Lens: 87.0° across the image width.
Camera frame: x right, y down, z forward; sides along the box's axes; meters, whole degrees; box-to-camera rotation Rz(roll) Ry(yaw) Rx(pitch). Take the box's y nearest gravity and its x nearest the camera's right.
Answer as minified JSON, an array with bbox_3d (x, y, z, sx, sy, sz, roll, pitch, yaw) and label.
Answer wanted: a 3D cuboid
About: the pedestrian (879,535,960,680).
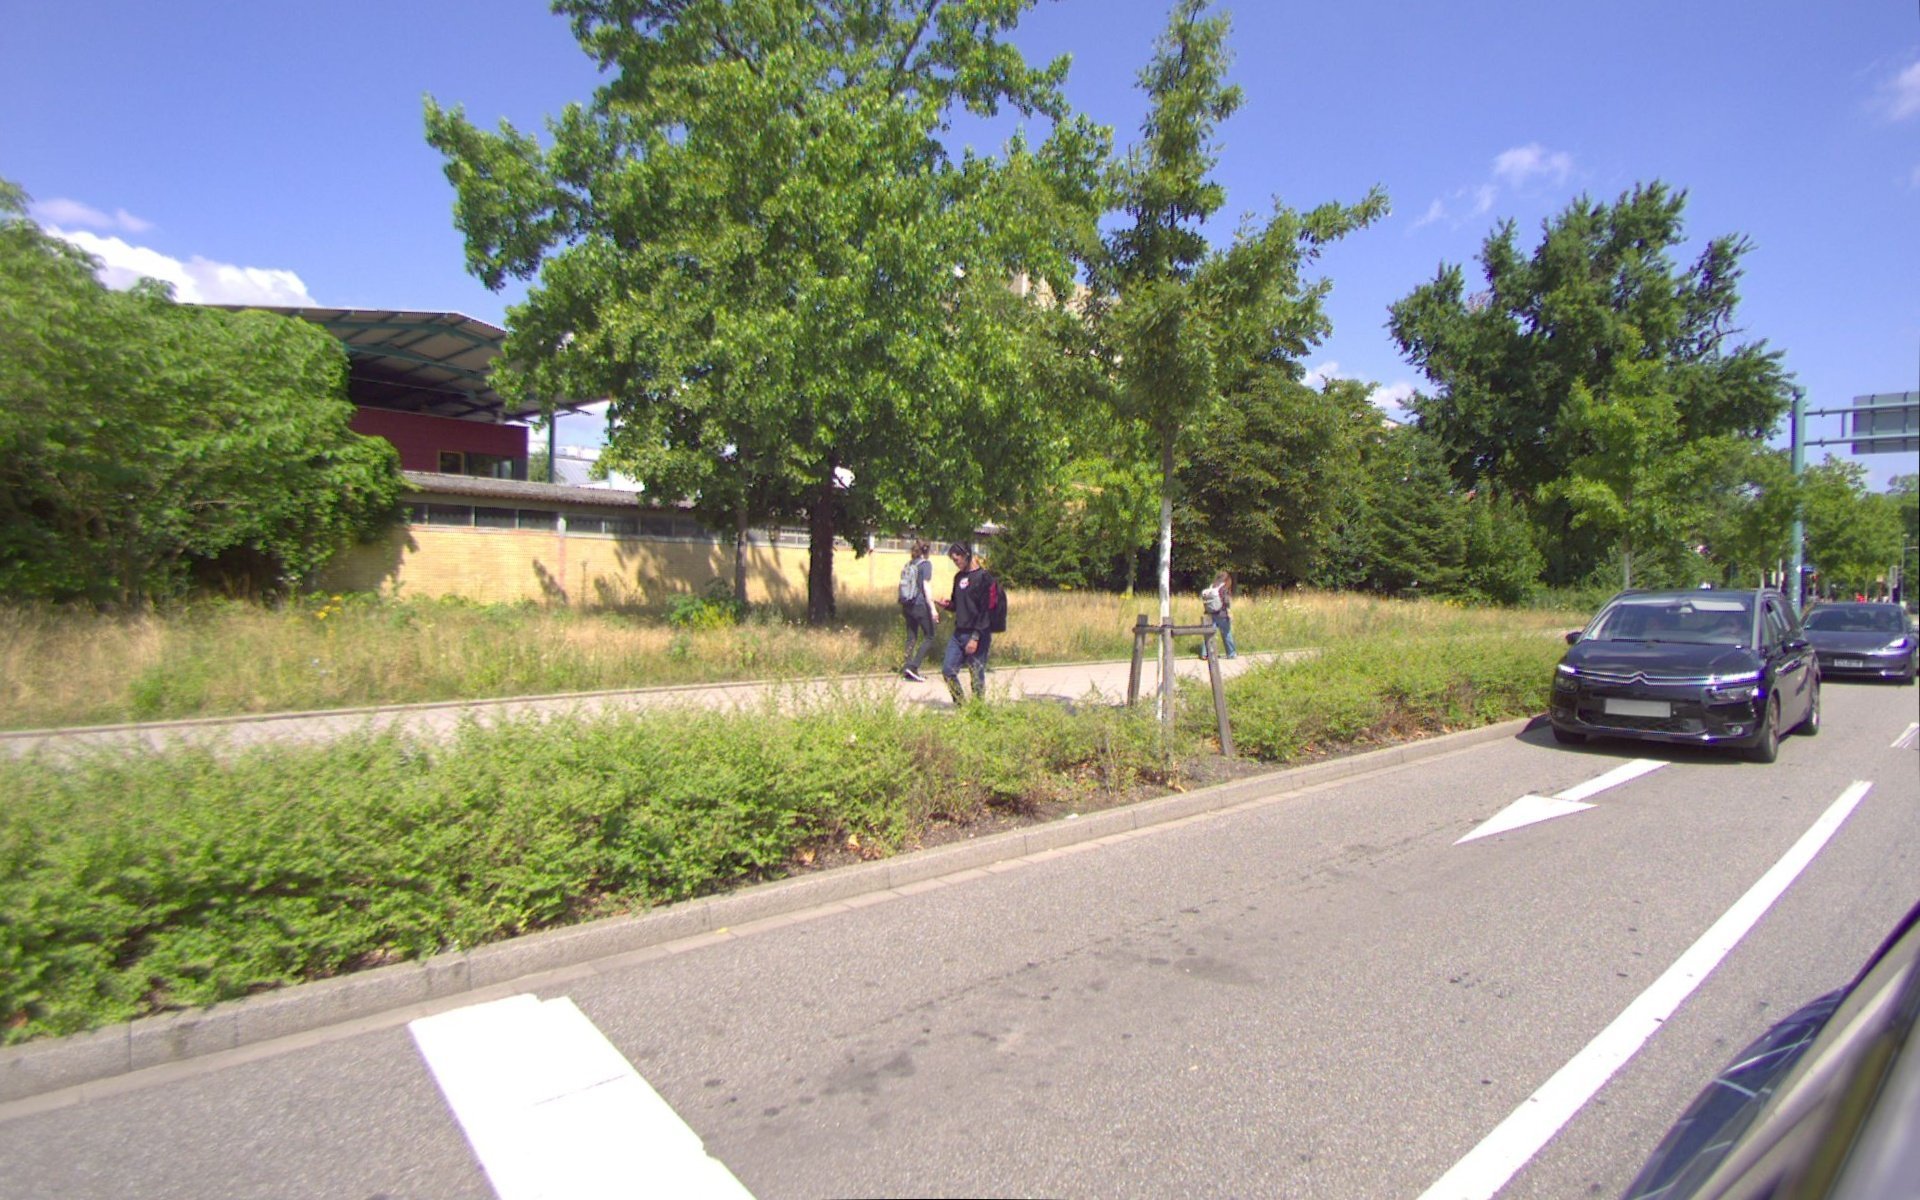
[{"bbox_3d":[-0.522,0.074,12.883,0.656,1.771,0.750,0,2,-44],"label":"pedestrian"}]

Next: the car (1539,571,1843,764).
[{"bbox_3d":[7.955,0.579,10.838,4.445,1.643,1.859,0,-1,-44],"label":"car"}]

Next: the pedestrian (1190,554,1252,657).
[{"bbox_3d":[4.673,0.084,18.102,0.863,1.771,0.667,0,2,-44],"label":"pedestrian"}]

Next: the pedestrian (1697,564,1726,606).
[{"bbox_3d":[32.132,-0.649,43.264,0.828,1.787,0.843,-1,0,-44],"label":"pedestrian"}]

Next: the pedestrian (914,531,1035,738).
[{"bbox_3d":[0.133,0.279,9.182,0.834,1.771,0.667,0,2,-44],"label":"pedestrian"}]

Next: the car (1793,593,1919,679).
[{"bbox_3d":[17.148,0.613,19.104,4.292,1.436,1.762,0,-1,-45],"label":"car"}]
